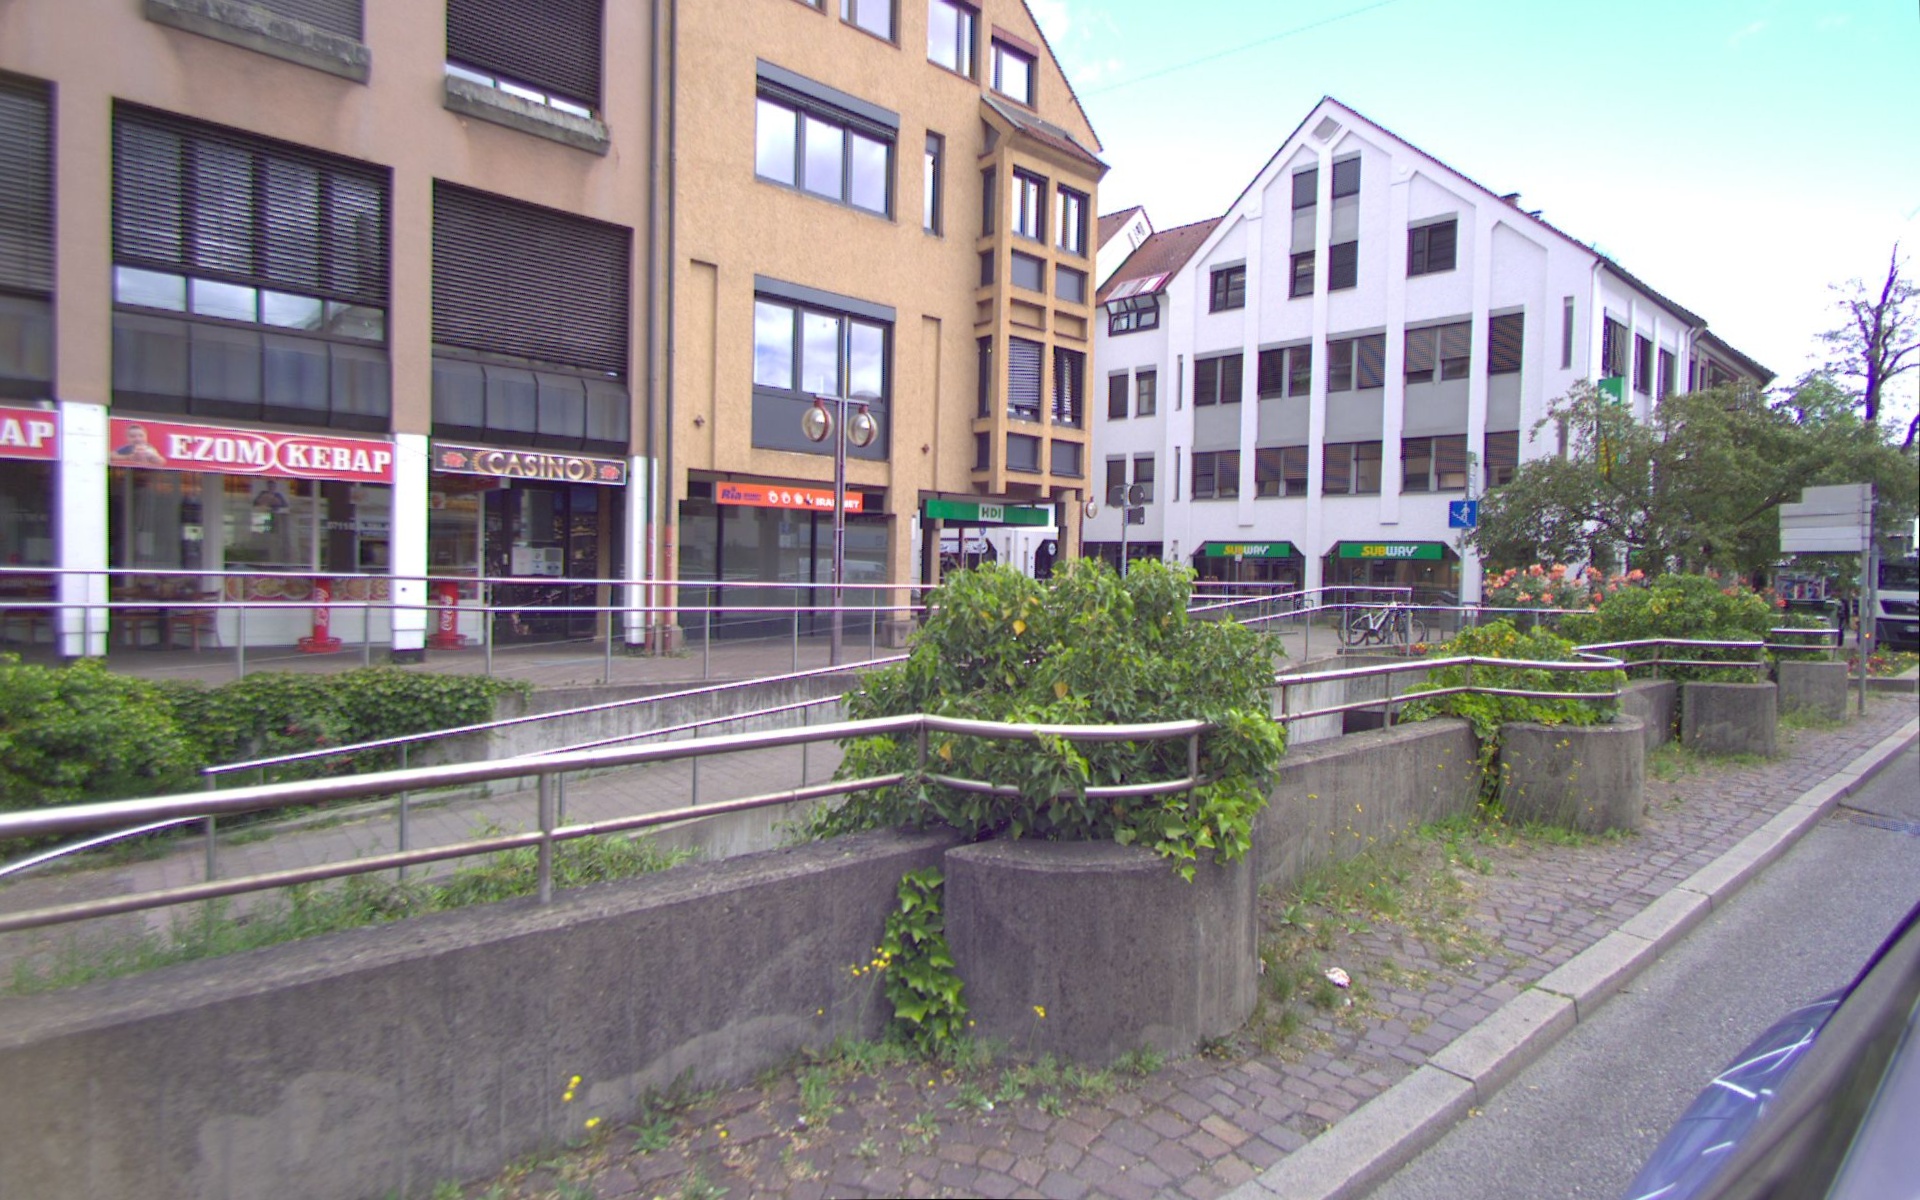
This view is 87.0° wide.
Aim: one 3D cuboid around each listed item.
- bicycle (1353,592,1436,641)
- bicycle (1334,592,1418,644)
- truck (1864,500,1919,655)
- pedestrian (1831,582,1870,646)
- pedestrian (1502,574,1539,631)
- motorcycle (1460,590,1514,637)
[{"bbox_3d":[9.412,0.336,21.945,1.583,0.981,0.456,2,1,35],"label":"bicycle"},{"bbox_3d":[8.794,0.367,21.418,1.584,1.014,0.409,2,1,36],"label":"bicycle"},{"bbox_3d":[25.129,-0.564,25.508,8.201,3.528,2.444,-1,0,-41],"label":"truck"},{"bbox_3d":[22.900,0.353,26.026,0.672,1.596,0.653,0,1,-40],"label":"pedestrian"},{"bbox_3d":[17.965,0.063,32.431,0.882,1.779,0.932,2,1,38],"label":"pedestrian"},{"bbox_3d":[12.735,0.304,24.442,1.961,1.081,0.464,0,1,-41],"label":"motorcycle"}]
